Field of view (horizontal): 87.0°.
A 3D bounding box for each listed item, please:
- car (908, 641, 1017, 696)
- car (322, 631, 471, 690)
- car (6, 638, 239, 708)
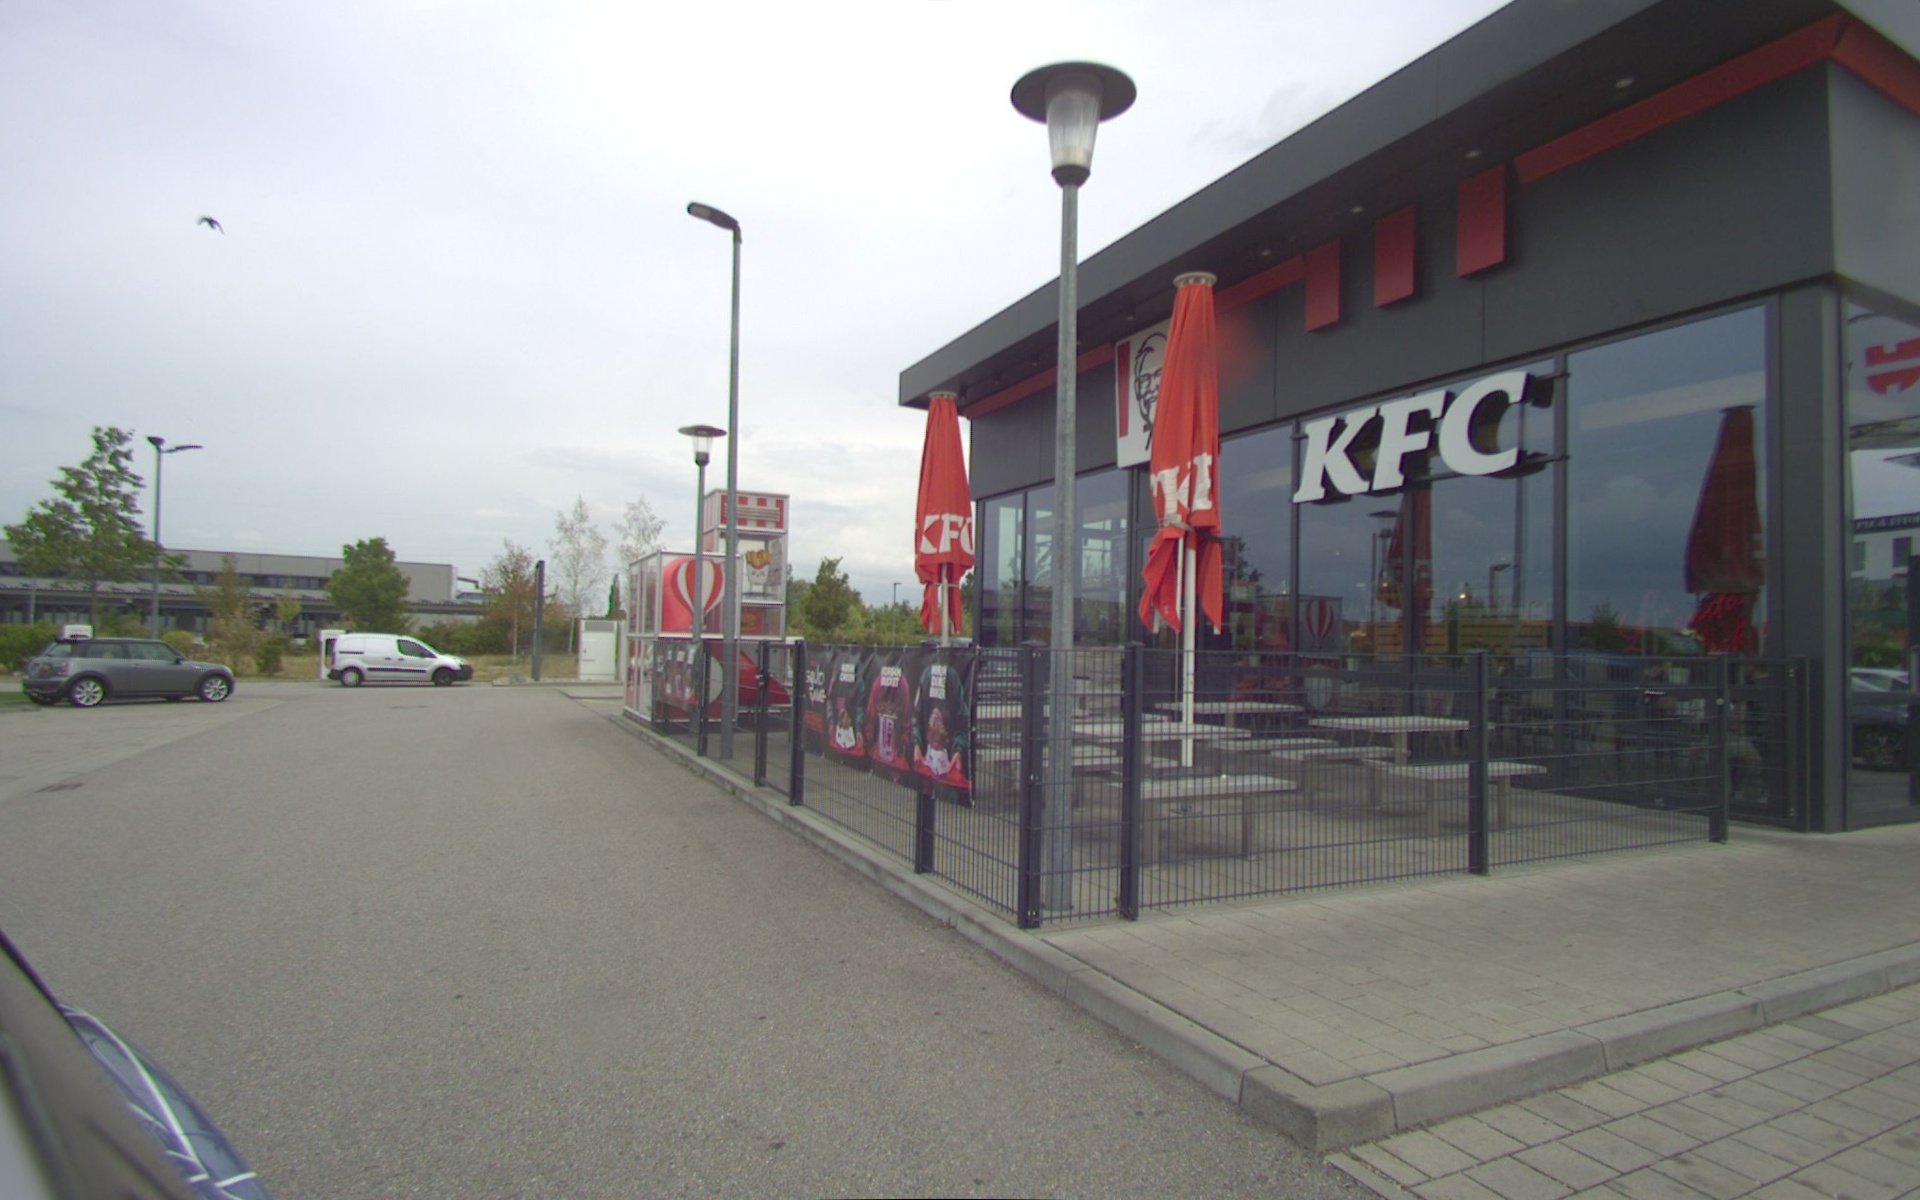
[{"bbox_3d":[-0.014,2.137,32.007,1.558,1.629,4.500,3,-4,-27],"label":"car"},{"bbox_3d":[-19.090,2.092,34.510,4.261,1.903,1.952,3,-5,-27],"label":"car"},{"bbox_3d":[-17.949,1.586,21.887,1.599,1.387,3.499,-1,-5,23],"label":"car"}]
